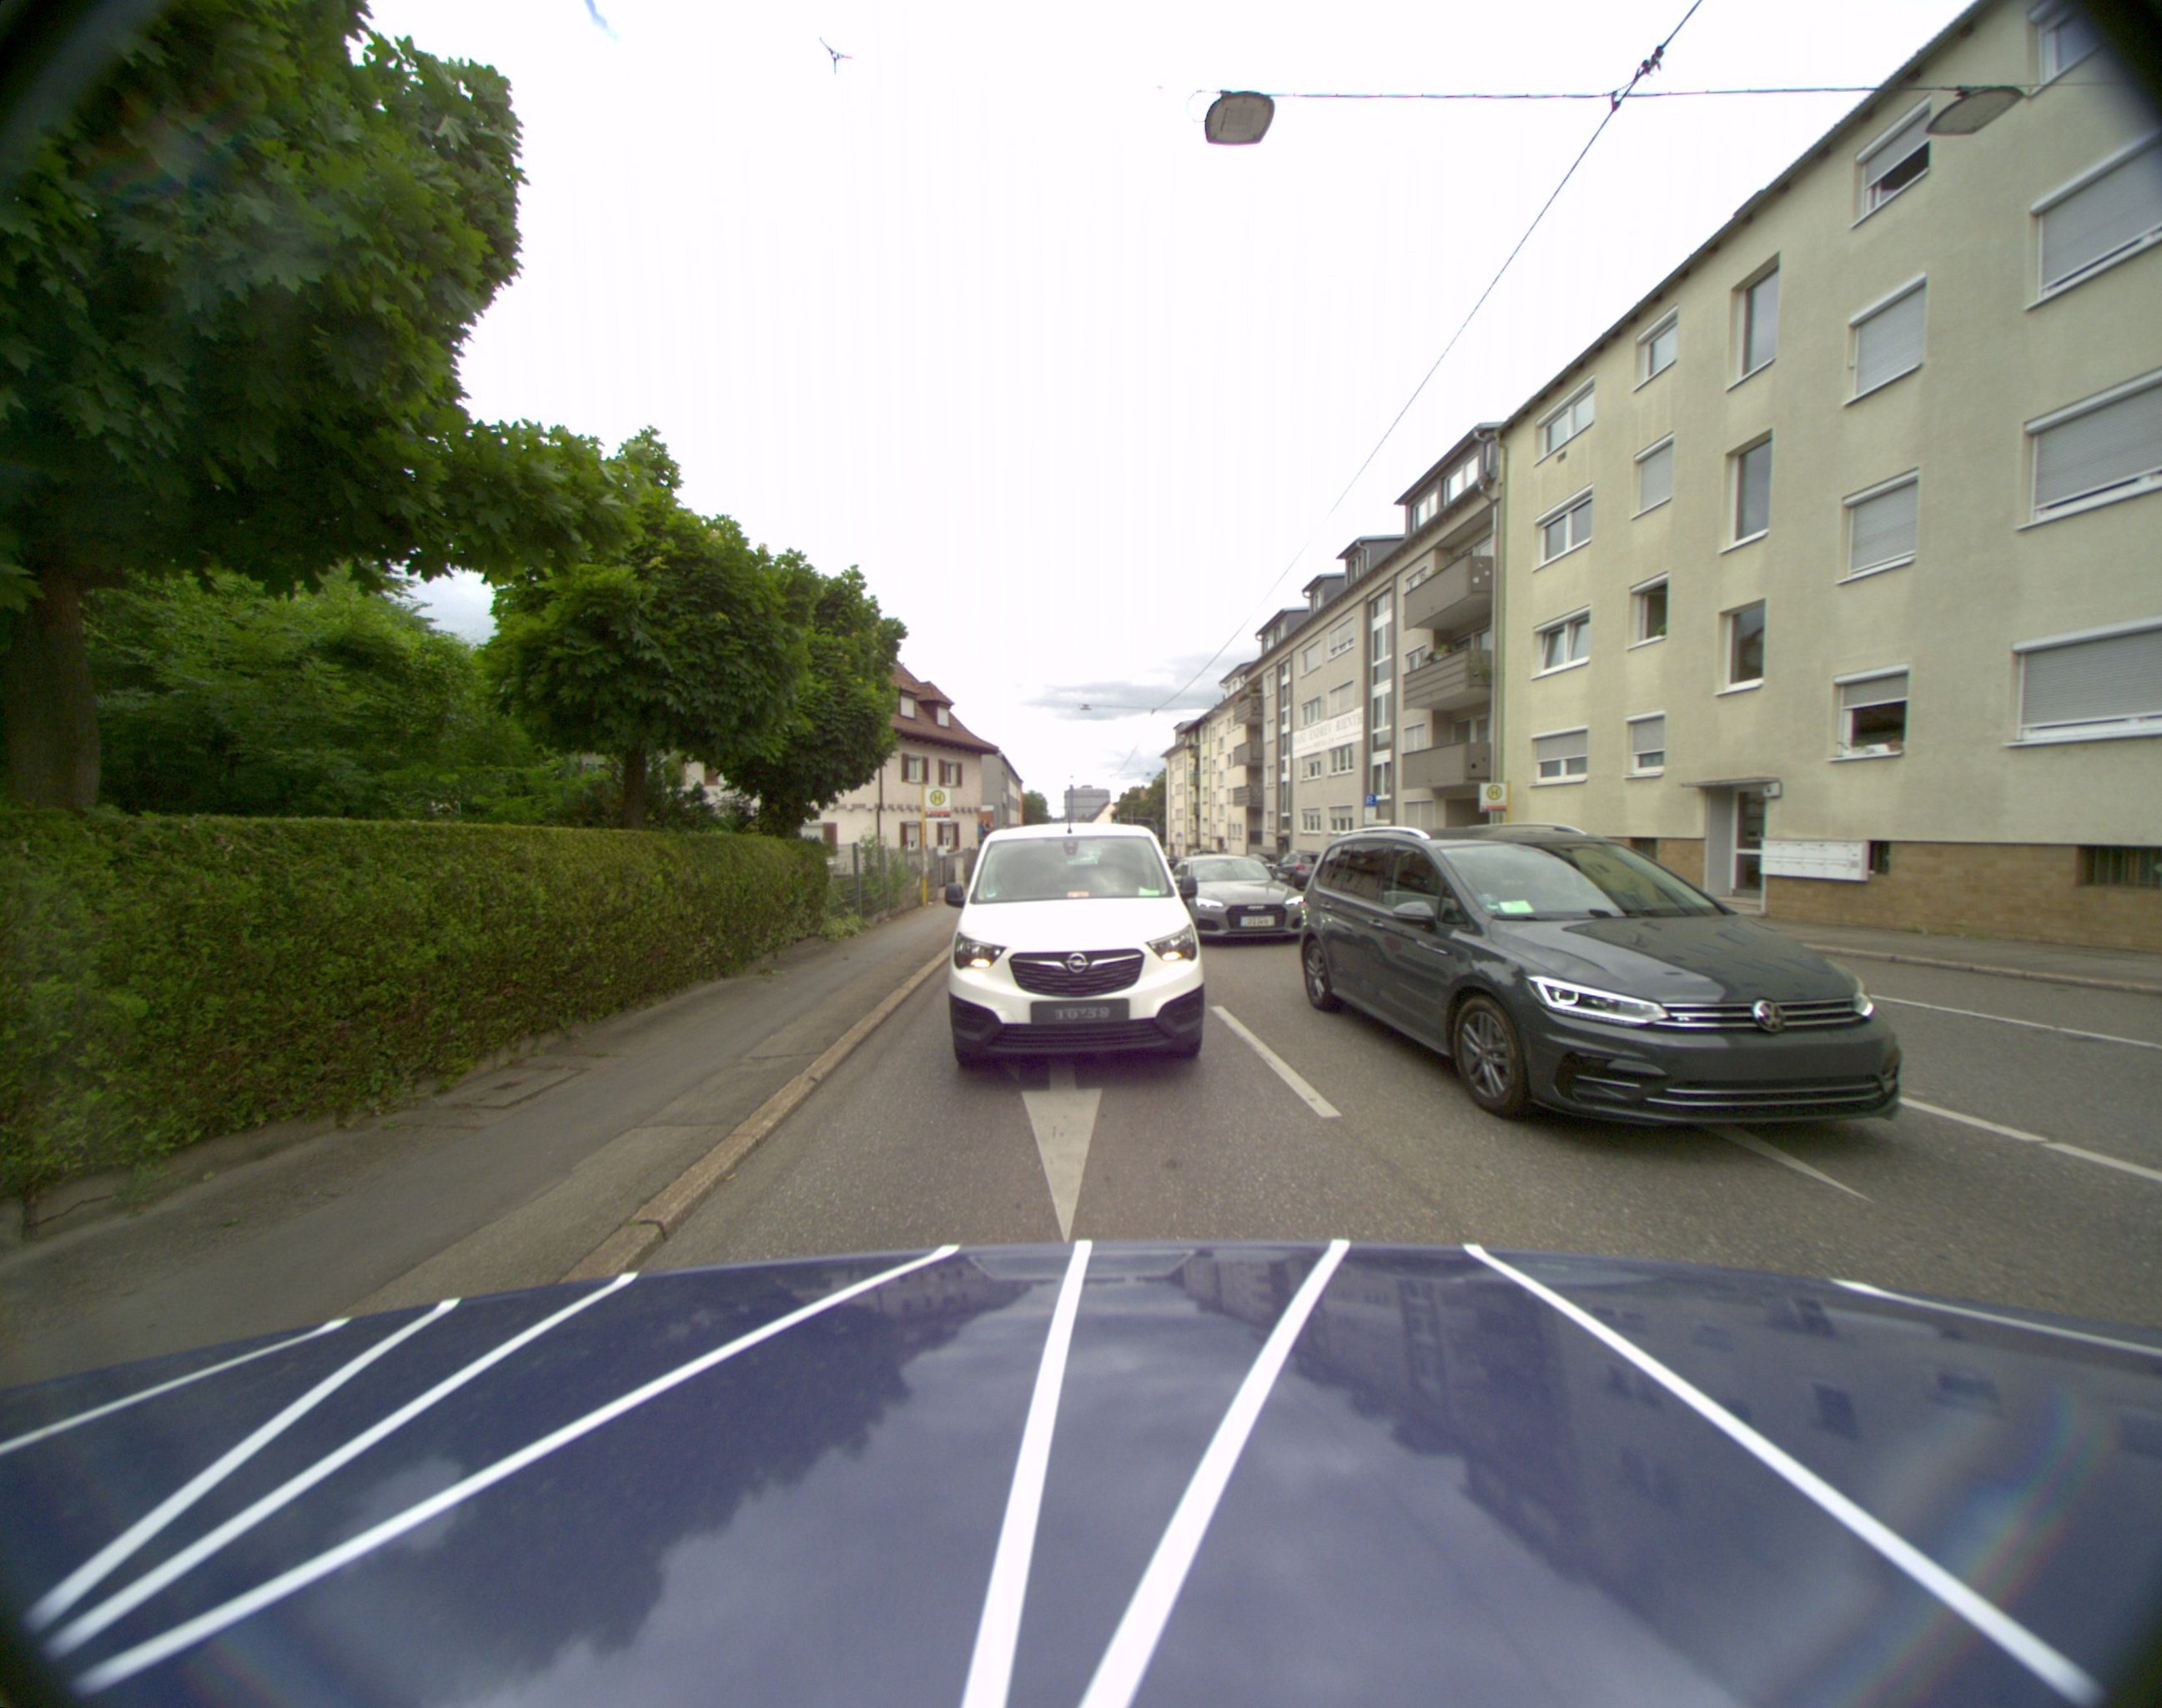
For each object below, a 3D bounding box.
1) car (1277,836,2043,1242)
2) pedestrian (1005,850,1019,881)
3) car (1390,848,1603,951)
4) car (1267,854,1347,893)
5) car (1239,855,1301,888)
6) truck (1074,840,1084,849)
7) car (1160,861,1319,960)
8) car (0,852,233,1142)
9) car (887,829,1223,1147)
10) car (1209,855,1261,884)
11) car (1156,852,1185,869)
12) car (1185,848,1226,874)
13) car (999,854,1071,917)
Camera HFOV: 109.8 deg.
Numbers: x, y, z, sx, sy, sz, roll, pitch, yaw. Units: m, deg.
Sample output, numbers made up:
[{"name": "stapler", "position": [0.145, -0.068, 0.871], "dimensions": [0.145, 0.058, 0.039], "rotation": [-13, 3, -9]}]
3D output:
[{"name": "car", "position": [2.999, 0.726, 5.369], "dimensions": [1.863, 1.601, 4.477], "rotation": [-2, 1, -2]}, {"name": "pedestrian", "position": [-4.111, 0.655, 45.327], "dimensions": [0.646, 1.830, 0.593], "rotation": [-1, 1, 22]}, {"name": "car", "position": [6.900, 0.670, 13.052], "dimensions": [1.602, 1.509, 3.458], "rotation": [0, 1, -3]}, {"name": "car", "position": [8.754, 0.717, 29.771], "dimensions": [1.776, 1.403, 3.685], "rotation": [1, 1, -5]}, {"name": "car", "position": [8.559, 0.764, 34.719], "dimensions": [1.669, 1.368, 3.538], "rotation": [1, 1, -5]}, {"name": "truck", "position": [-0.577, -2.510, 208.604], "dimensions": [2.547, 2.522, 5.493], "rotation": [0, 0, -2]}, {"name": "car", "position": [2.528, 0.847, 13.160], "dimensions": [1.882, 1.347, 4.146], "rotation": [-1, 0, 0]}, {"name": "car", "position": [-6.616, 0.779, 3.321], "dimensions": [1.698, 1.452, 3.444], "rotation": [-1, 1, 21]}, {"name": "car", "position": [-0.124, 0.735, 6.709], "dimensions": [1.862, 1.772, 4.711], "rotation": [-2, 1, 0]}, {"name": "car", "position": [8.191, 0.801, 40.747], "dimensions": [1.776, 1.395, 3.538], "rotation": [1, 1, -5]}, {"name": "car", "position": [7.813, 0.586, 66.663], "dimensions": [1.776, 1.395, 3.757], "rotation": [1, 1, -5]}, {"name": "car", "position": [8.134, 0.422, 49.868], "dimensions": [1.776, 1.592, 3.538], "rotation": [1, 1, -5]}, {"name": "car", "position": [-1.383, 0.832, 22.175], "dimensions": [1.900, 1.635, 3.998], "rotation": [0, 1, -5]}]
